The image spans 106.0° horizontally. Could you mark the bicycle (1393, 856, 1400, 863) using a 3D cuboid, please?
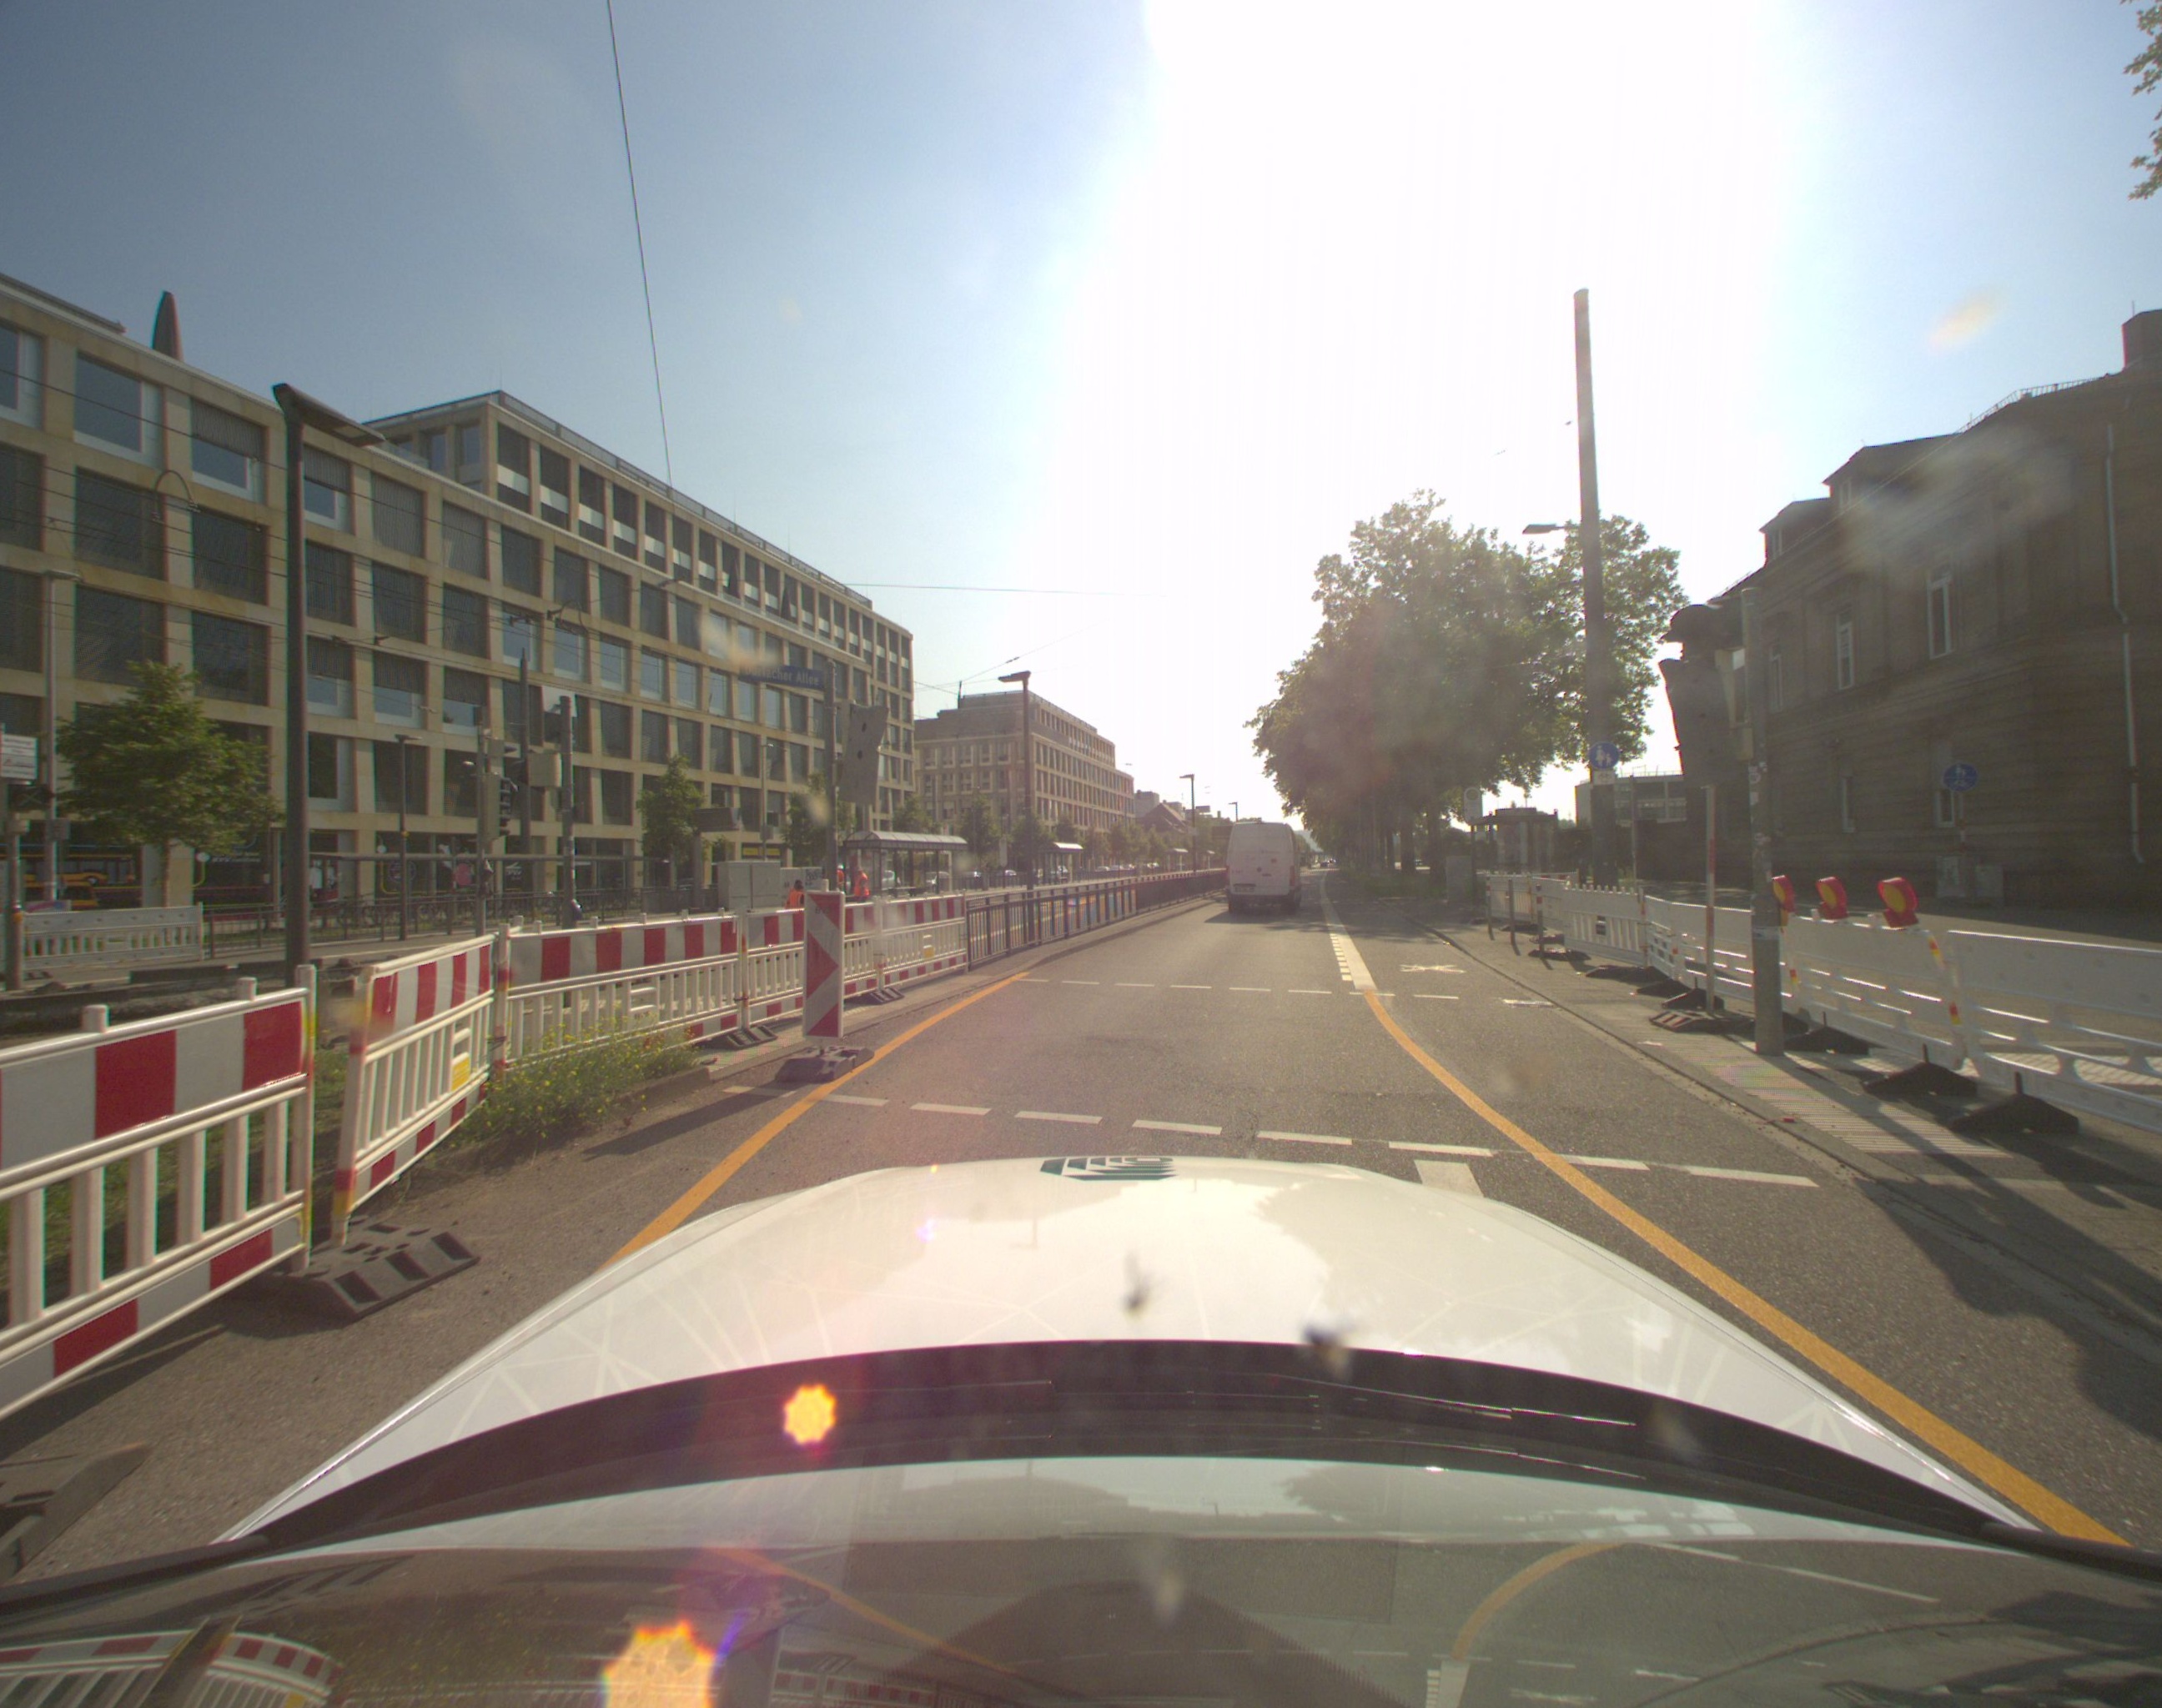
[{"bbox_3d":[44.815,0.763,115.857,0.676,1.005,2.227,-3,-1,16],"label":"bicycle"}]

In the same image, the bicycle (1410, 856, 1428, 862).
[{"bbox_3d":[46.837,0.695,112.784,2.163,0.847,0.505,-3,-1,17],"label":"bicycle"}]

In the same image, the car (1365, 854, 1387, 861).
[{"bbox_3d":[59.295,0.759,163.868,3.956,1.376,2.008,-1,-2,16],"label":"car"}]

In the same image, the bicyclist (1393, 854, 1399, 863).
[{"bbox_3d":[44.879,0.633,115.930,0.664,1.276,0.731,-3,-1,16],"label":"bicyclist"}]

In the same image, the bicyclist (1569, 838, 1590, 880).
[{"bbox_3d":[18.759,0.175,30.645,0.465,1.539,0.598,-2,-1,14],"label":"bicyclist"}]

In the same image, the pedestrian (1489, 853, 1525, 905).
[{"bbox_3d":[11.472,0.678,21.939,0.744,1.366,0.614,-1,-2,16],"label":"pedestrian"}]

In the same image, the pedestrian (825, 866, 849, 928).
[{"bbox_3d":[-7.415,1.289,24.734,0.625,1.816,0.637,-2,-1,-16],"label":"pedestrian"}]

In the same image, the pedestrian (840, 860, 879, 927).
[{"bbox_3d":[-6.665,1.178,24.518,0.716,1.951,0.793,-3,-1,31],"label":"pedestrian"}]

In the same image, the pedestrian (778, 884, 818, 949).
[{"bbox_3d":[-7.556,1.645,21.777,0.776,1.663,0.661,-2,-1,-40],"label":"pedestrian"}]

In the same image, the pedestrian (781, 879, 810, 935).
[{"bbox_3d":[-8.210,1.505,23.445,0.639,1.554,0.624,-2,-1,-10],"label":"pedestrian"}]

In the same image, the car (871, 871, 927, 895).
[{"bbox_3d":[-11.862,1.887,53.362,1.671,1.407,4.392,-3,-1,16],"label":"car"}]

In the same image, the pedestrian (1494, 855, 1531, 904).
[{"bbox_3d":[11.269,0.663,21.300,0.735,1.261,0.614,-1,-2,16],"label":"pedestrian"}]

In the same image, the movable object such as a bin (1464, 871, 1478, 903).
[{"bbox_3d":[11.728,0.991,24.512,0.269,0.915,0.387,-2,-1,15],"label":"movable object such as a bin"}]

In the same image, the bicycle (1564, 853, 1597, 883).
[{"bbox_3d":[18.776,0.528,30.659,0.487,1.089,1.864,-2,-1,14],"label":"bicycle"}]

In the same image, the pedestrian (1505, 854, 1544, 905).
[{"bbox_3d":[11.152,0.645,20.506,0.735,1.261,0.614,-1,-2,16],"label":"pedestrian"}]

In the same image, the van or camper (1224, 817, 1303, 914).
[{"bbox_3d":[5.725,0.343,25.175,2.100,2.682,5.270,-1,-1,15],"label":"van or camper"}]
